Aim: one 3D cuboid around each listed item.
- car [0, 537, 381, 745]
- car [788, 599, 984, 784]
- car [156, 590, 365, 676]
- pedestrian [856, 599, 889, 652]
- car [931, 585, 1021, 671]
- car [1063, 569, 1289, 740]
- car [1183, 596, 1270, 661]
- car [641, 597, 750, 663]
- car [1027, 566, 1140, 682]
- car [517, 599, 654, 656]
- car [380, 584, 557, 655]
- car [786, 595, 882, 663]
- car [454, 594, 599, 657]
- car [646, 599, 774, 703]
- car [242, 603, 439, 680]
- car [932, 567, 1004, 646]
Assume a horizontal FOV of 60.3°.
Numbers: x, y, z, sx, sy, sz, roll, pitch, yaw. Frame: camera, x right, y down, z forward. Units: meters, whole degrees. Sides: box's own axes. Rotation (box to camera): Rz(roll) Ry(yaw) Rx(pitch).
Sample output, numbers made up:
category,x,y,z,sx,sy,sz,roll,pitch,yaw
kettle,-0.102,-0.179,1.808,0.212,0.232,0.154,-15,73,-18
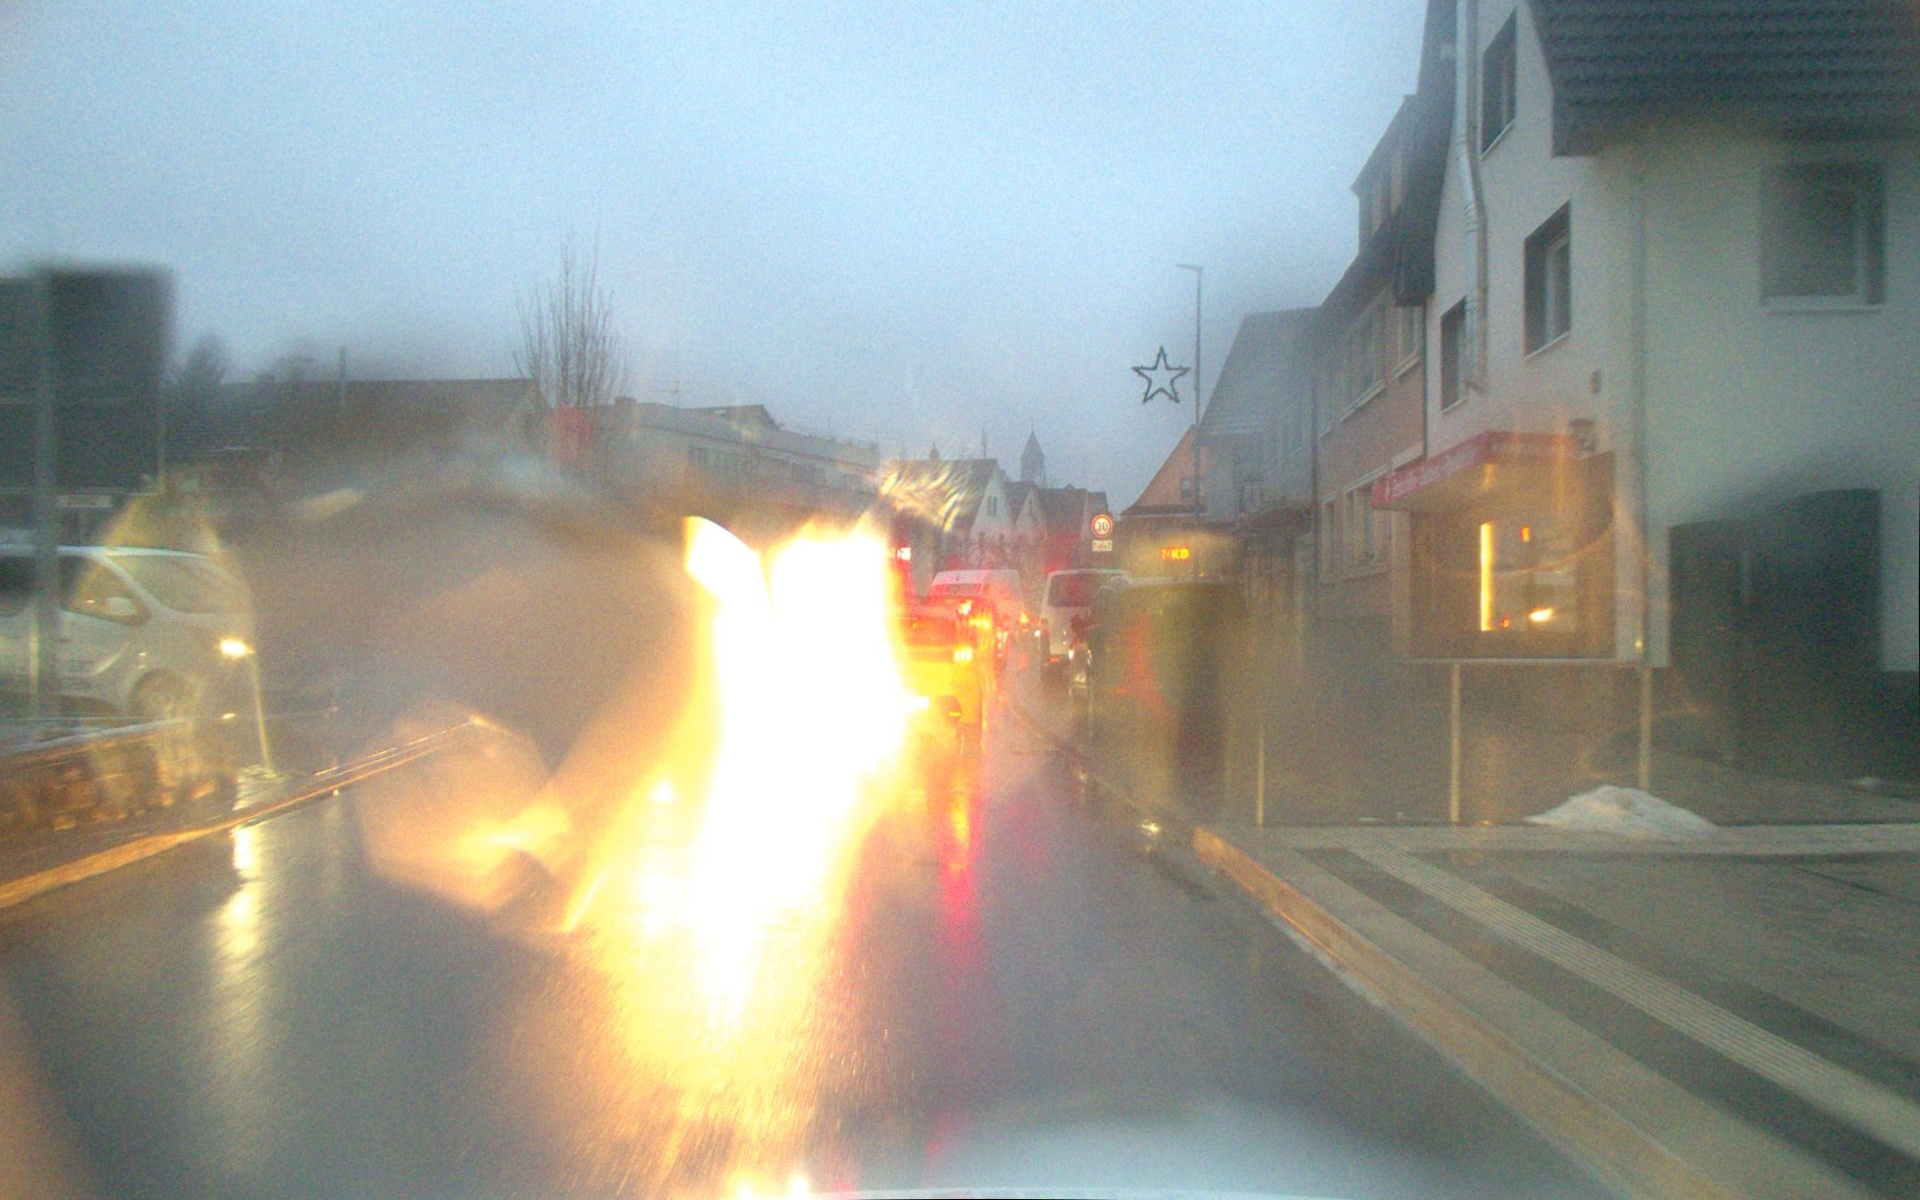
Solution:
category,x,y,z,sx,sy,sz,roll,pitch,yaw
car,-9.220,0.348,17.497,5.637,1.980,1.993,1,1,13
car,-0.804,0.923,19.042,1.953,1.827,4.647,-1,0,-2
car,-13.005,0.600,30.688,3.852,1.484,1.757,-1,0,34
pedestrian,-3.167,0.933,59.971,0.739,1.899,1.059,-1,-1,30
car,0.367,0.559,34.769,1.760,1.691,4.001,1,0,1
car,2.310,0.537,18.827,1.934,1.690,4.459,-1,0,-1
car,6.937,0.721,43.392,1.698,1.588,3.664,-1,0,0
car,-6.564,0.706,41.478,1.865,1.560,4.257,0,0,3
car,2.294,0.406,31.242,1.932,1.994,4.854,-1,0,3
car,-10.742,0.757,47.353,3.929,1.557,1.988,0,0,42
car,-12.221,0.496,41.011,4.566,1.683,1.979,-1,-1,38
car,-3.060,0.683,40.960,1.788,1.545,4.550,-1,0,3
car,-11.703,0.698,44.574,4.034,1.610,1.713,-2,-1,38
car,-4.011,0.771,27.040,1.587,1.506,3.837,-1,1,-2
car,-12.590,0.820,33.577,3.988,1.485,1.753,-1,-1,33
car,0.330,0.209,56.332,2.149,2.534,6.145,0,0,3
